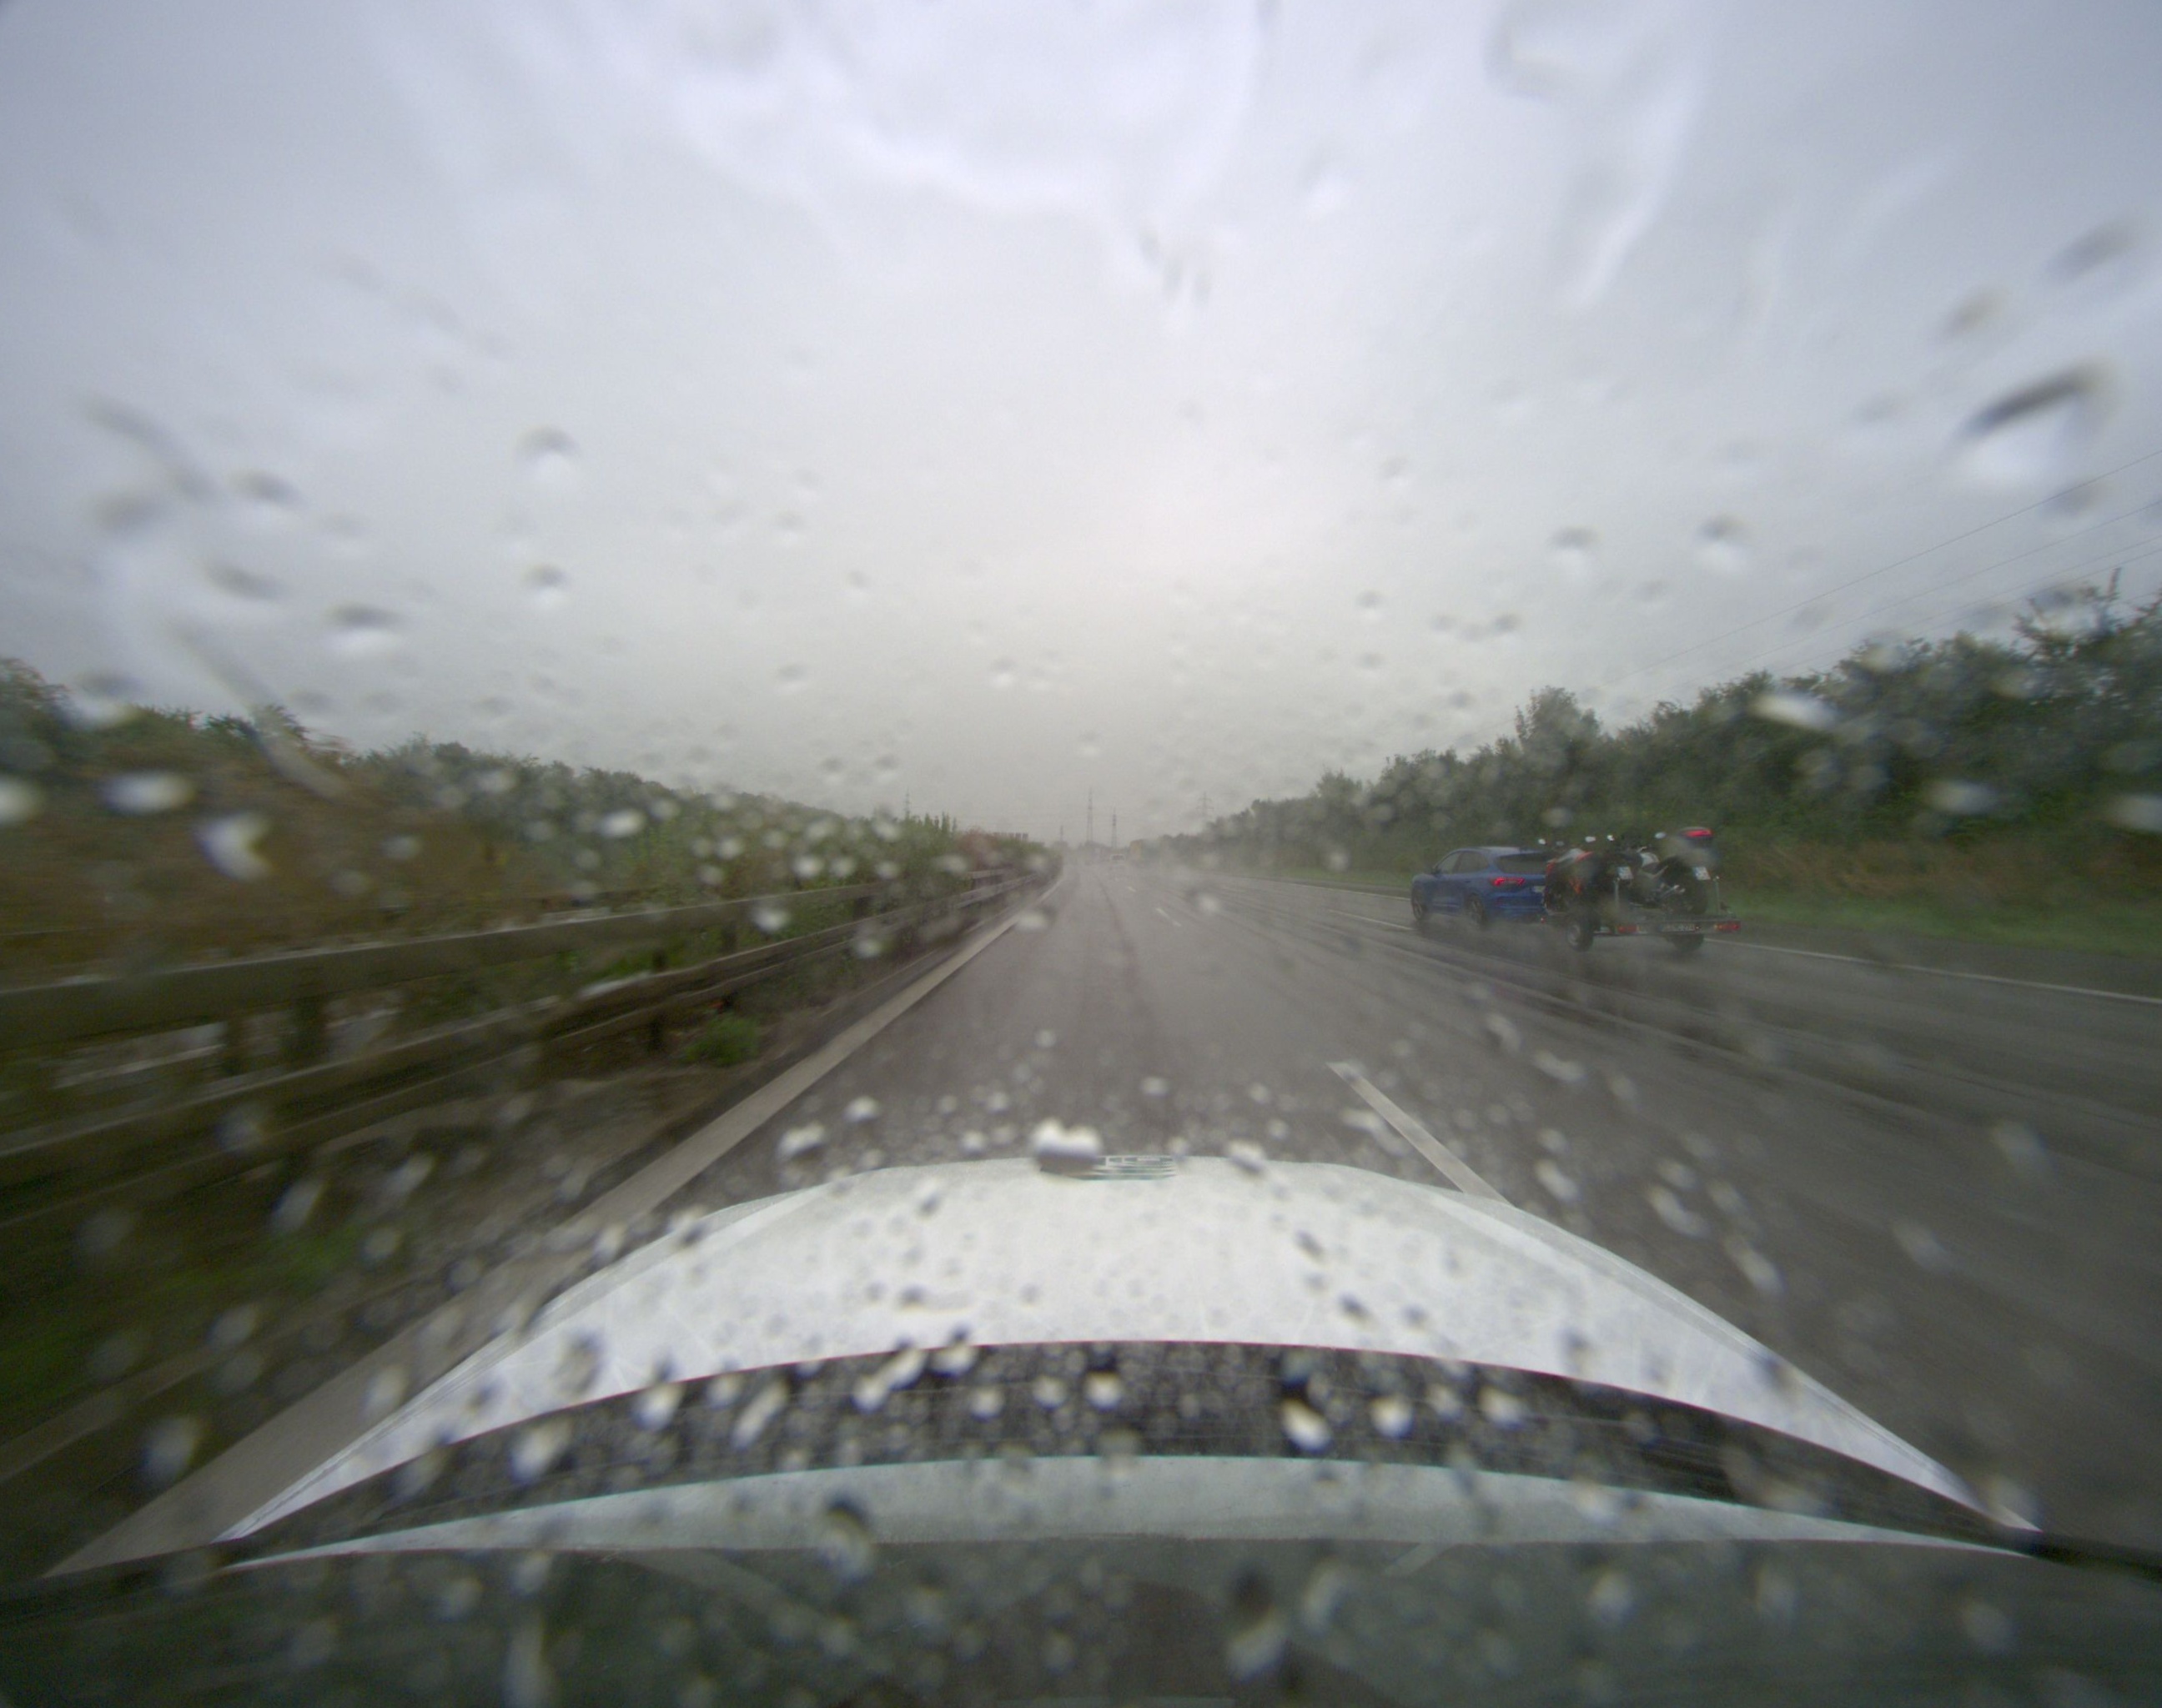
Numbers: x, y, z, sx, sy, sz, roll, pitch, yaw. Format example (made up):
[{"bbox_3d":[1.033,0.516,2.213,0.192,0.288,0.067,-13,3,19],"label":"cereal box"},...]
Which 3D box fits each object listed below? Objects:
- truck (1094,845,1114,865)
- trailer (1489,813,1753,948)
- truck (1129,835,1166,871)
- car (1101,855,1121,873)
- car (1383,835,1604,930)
[{"bbox_3d":[5.207,0.141,182.534,3.229,4.311,8.816,-1,0,-7],"label":"truck"},{"bbox_3d":[8.070,0.374,12.569,1.972,1.785,3.189,-1,-1,1],"label":"trailer"},{"bbox_3d":[9.003,-0.029,111.755,4.173,4.630,16.110,-1,-1,2],"label":"truck"},{"bbox_3d":[3.466,1.137,94.976,1.988,2.013,3.997,-1,0,-2],"label":"car"},{"bbox_3d":[8.117,0.528,16.700,1.987,1.619,4.991,-1,-1,0],"label":"car"}]
